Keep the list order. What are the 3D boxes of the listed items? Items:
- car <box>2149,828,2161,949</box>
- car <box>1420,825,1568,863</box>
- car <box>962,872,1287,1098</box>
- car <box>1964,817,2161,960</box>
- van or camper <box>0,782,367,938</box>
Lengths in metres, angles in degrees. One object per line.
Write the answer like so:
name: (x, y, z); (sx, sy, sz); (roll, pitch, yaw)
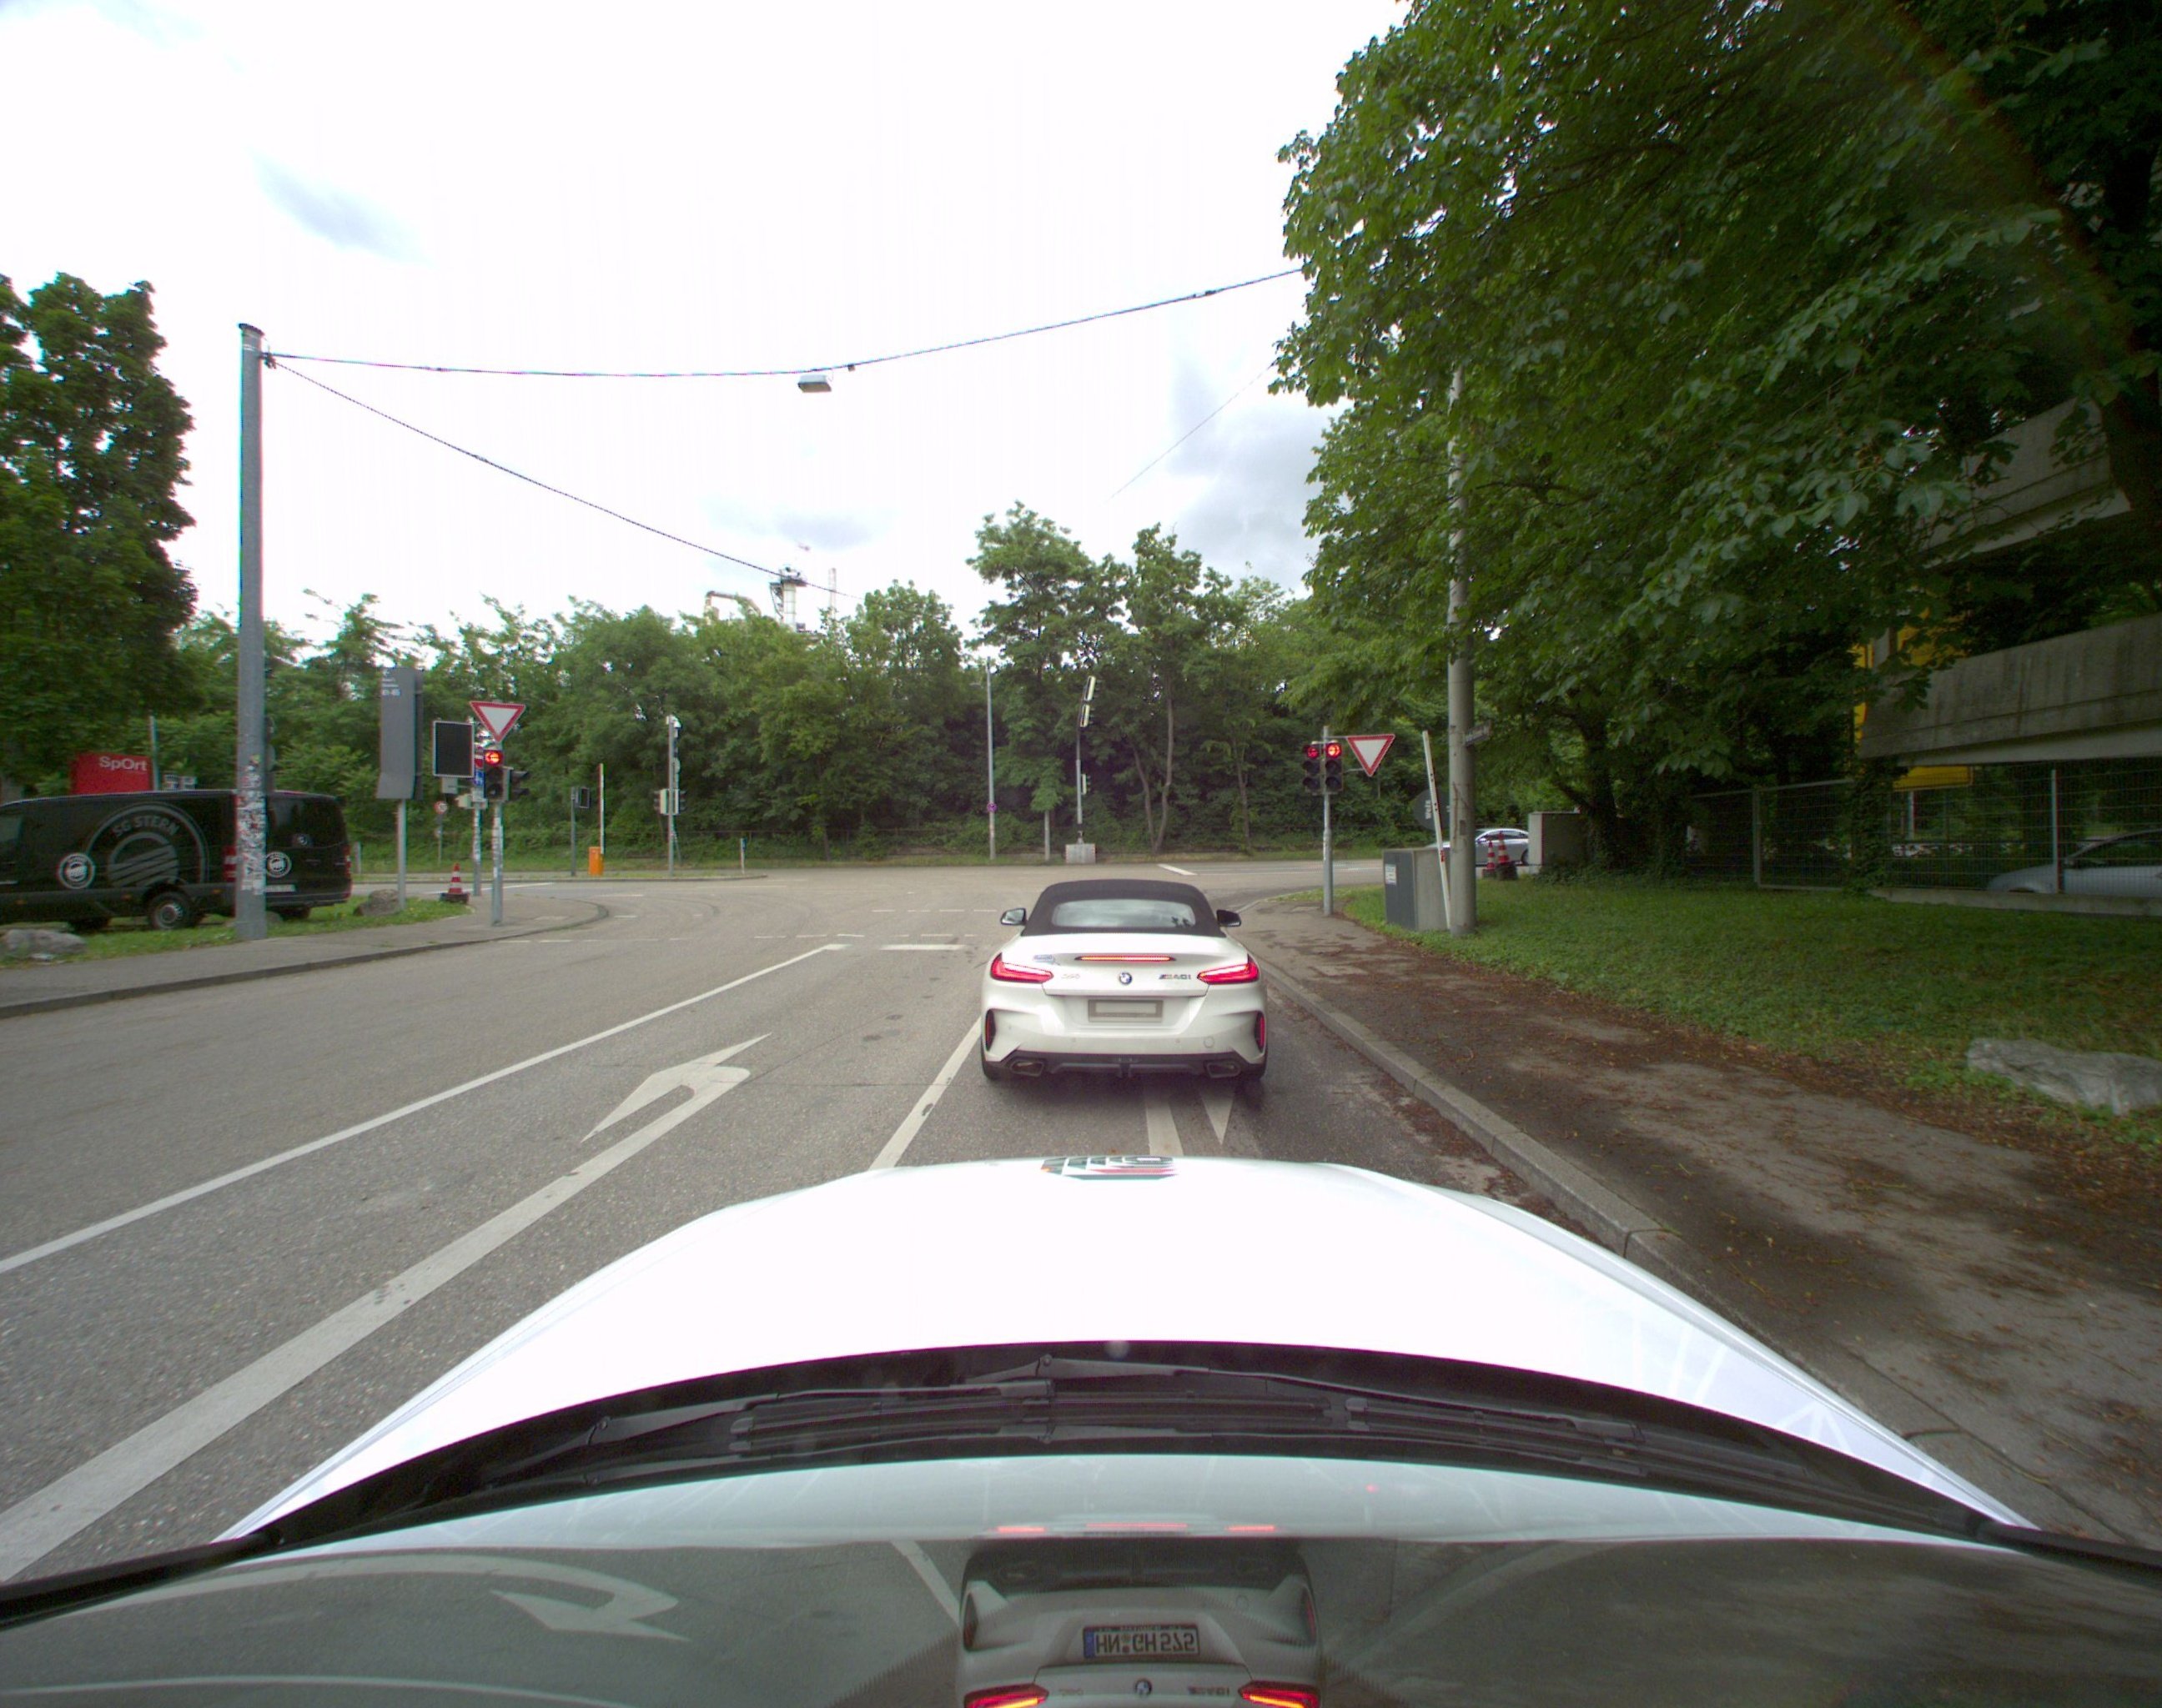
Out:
car: (16.010, 0.449, 9.739); (1.574, 1.708, 3.770); (0, -1, 2)
car: (15.584, -0.396, 30.911); (4.733, 1.333, 1.835); (-1, 2, 2)
car: (0.246, 0.786, 6.582); (1.822, 1.257, 3.998); (0, -1, 0)
car: (13.617, 0.422, 10.046); (1.475, 1.708, 3.720); (0, -1, 2)
van or camper: (-15.884, 0.158, 13.979); (5.513, 2.314, 2.063); (-2, -2, 2)
